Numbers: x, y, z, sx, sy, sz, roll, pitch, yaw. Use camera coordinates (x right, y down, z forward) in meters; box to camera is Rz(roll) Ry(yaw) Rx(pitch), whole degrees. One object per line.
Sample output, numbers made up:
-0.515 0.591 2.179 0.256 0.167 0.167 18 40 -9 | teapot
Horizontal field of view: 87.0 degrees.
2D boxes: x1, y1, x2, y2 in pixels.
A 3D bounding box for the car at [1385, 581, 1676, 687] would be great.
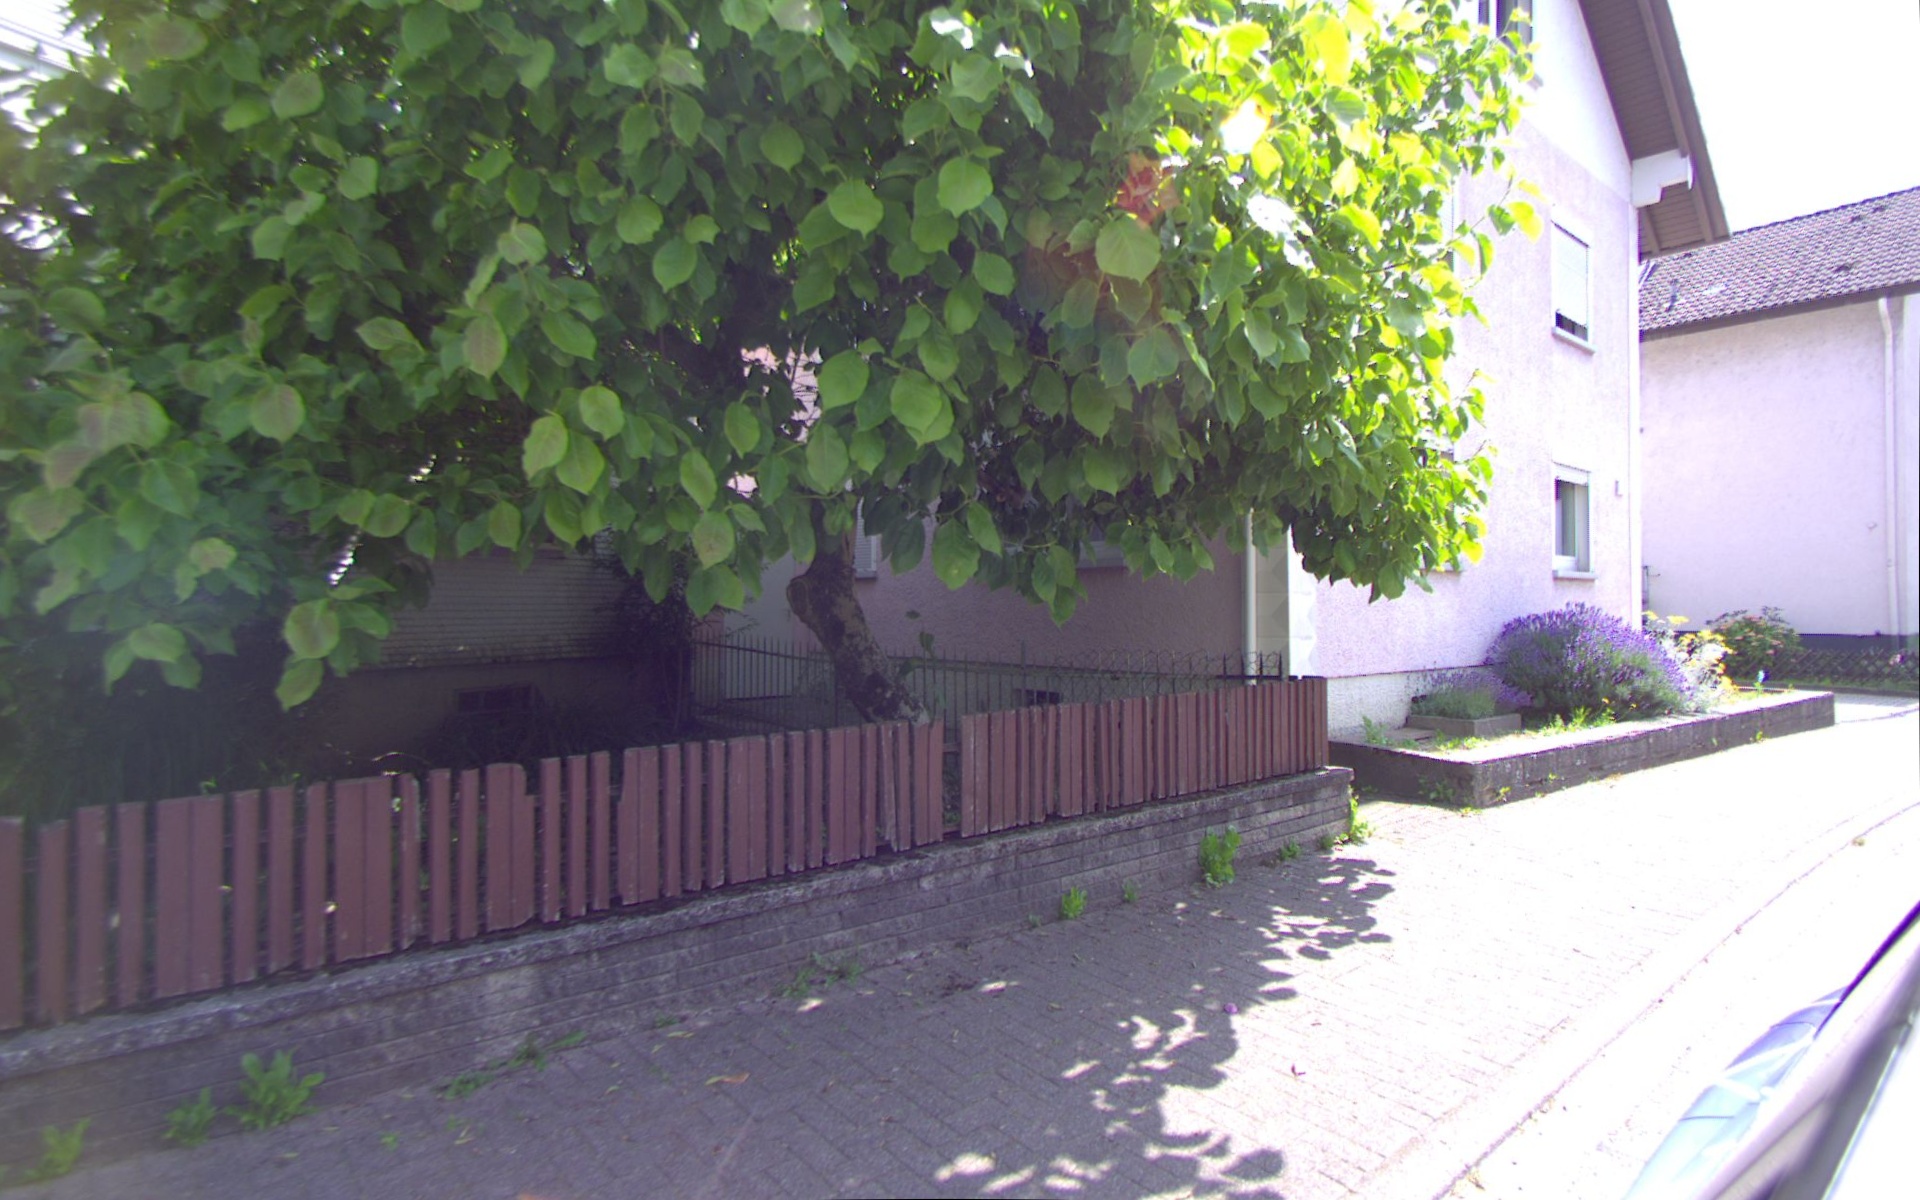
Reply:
9.061 0.464 16.288 1.651 1.479 3.753 1 1 -42 | car
